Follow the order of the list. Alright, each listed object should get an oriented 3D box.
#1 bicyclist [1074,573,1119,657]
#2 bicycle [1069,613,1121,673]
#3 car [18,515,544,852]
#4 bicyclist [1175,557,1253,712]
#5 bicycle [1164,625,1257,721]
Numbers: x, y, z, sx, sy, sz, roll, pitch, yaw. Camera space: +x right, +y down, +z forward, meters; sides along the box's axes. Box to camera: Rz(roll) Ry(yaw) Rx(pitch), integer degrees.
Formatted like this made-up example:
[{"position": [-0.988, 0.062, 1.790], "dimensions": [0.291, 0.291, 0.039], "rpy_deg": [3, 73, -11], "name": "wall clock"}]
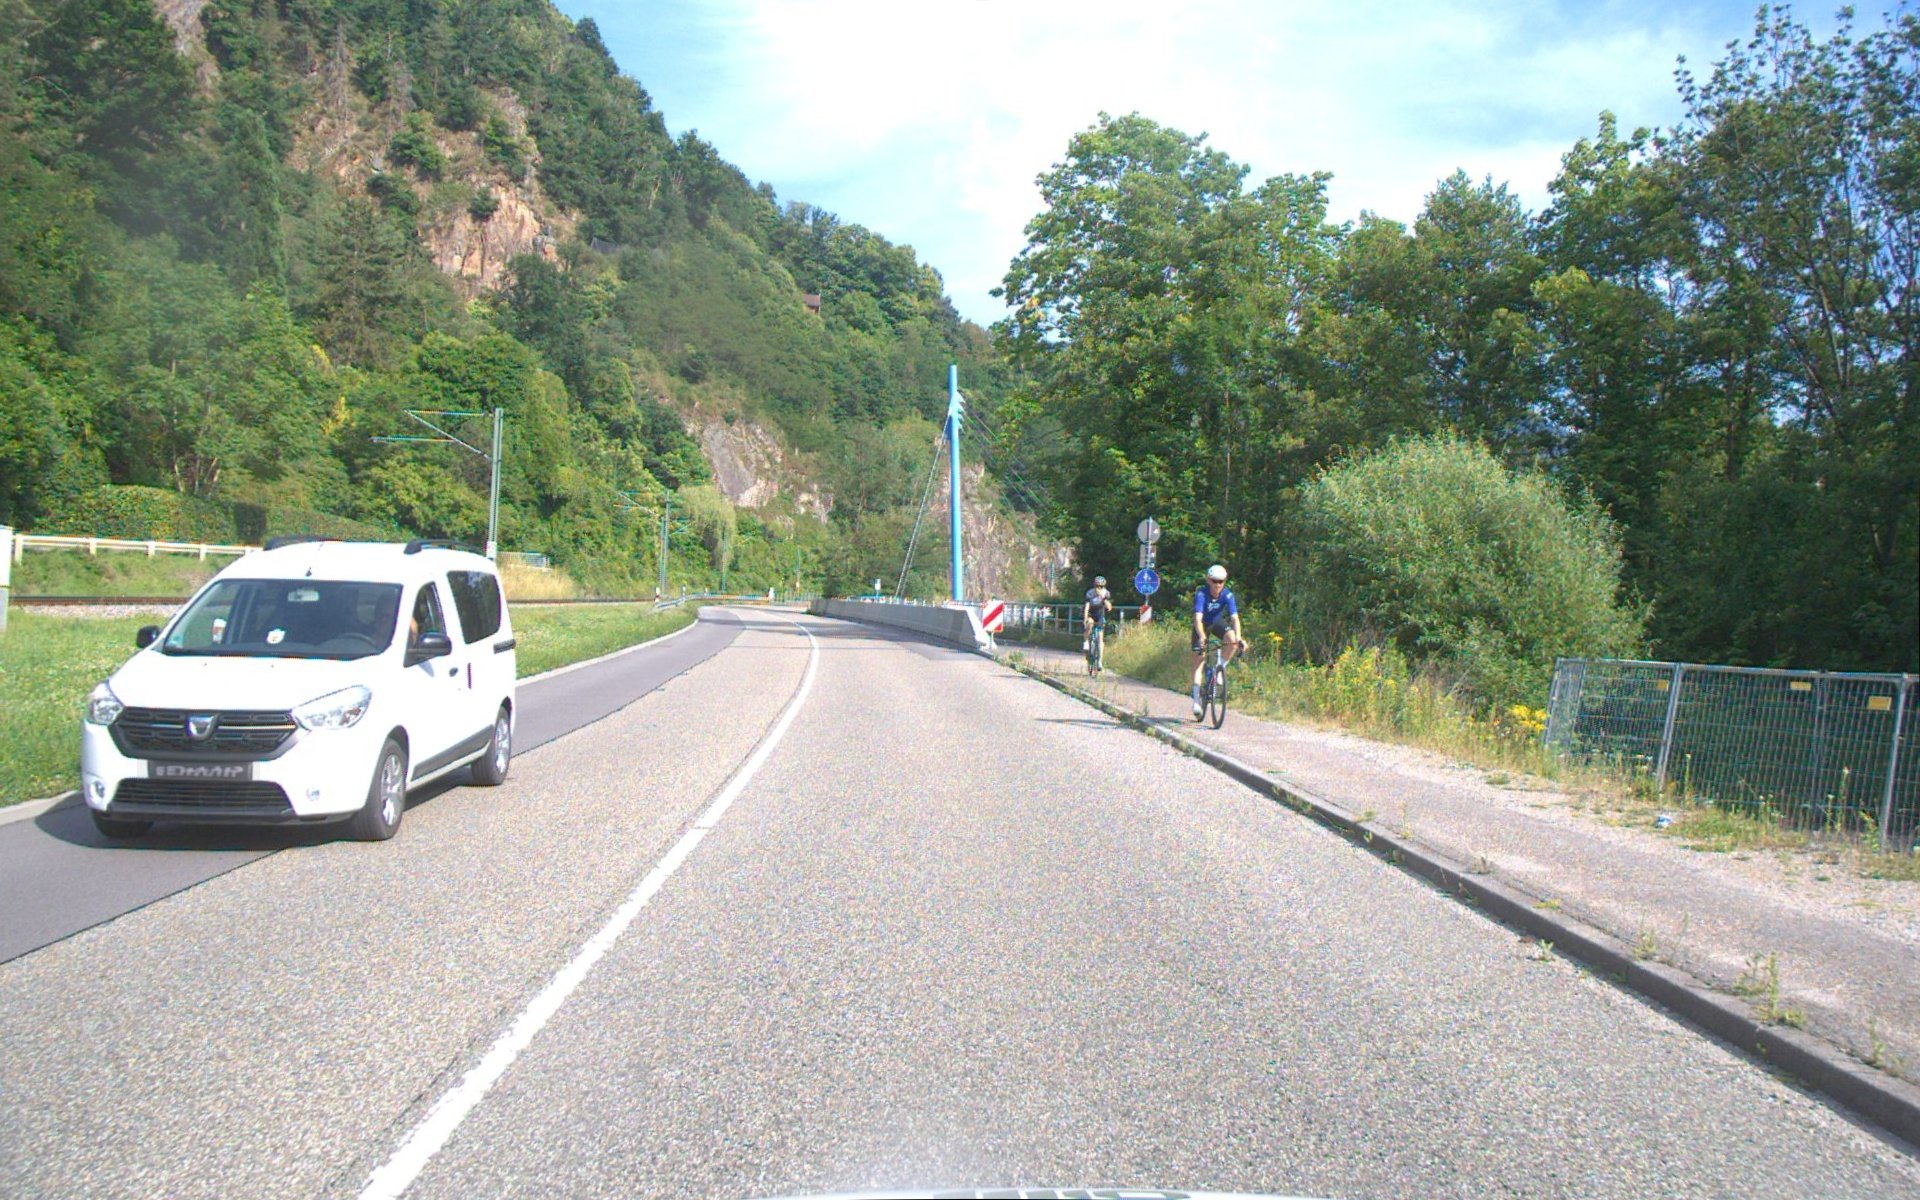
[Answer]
[{"position": [2.383, 0.254, 28.962], "dimensions": [0.581, 1.425, 0.761], "rpy_deg": [4, 0, -4], "name": "bicyclist"}, {"position": [2.346, 0.735, 29.000], "dimensions": [0.588, 0.932, 1.846], "rpy_deg": [4, 0, -4], "name": "bicycle"}, {"position": [-4.285, 0.436, 11.340], "dimensions": [1.832, 1.812, 4.597], "rpy_deg": [1, 1, -2], "name": "car"}, {"position": [2.853, 0.379, 18.634], "dimensions": [0.628, 1.683, 0.808], "rpy_deg": [3, 0, -4], "name": "bicyclist"}, {"position": [2.815, 0.799, 18.736], "dimensions": [0.635, 0.958, 1.846], "rpy_deg": [2, 1, -4], "name": "bicycle"}]
